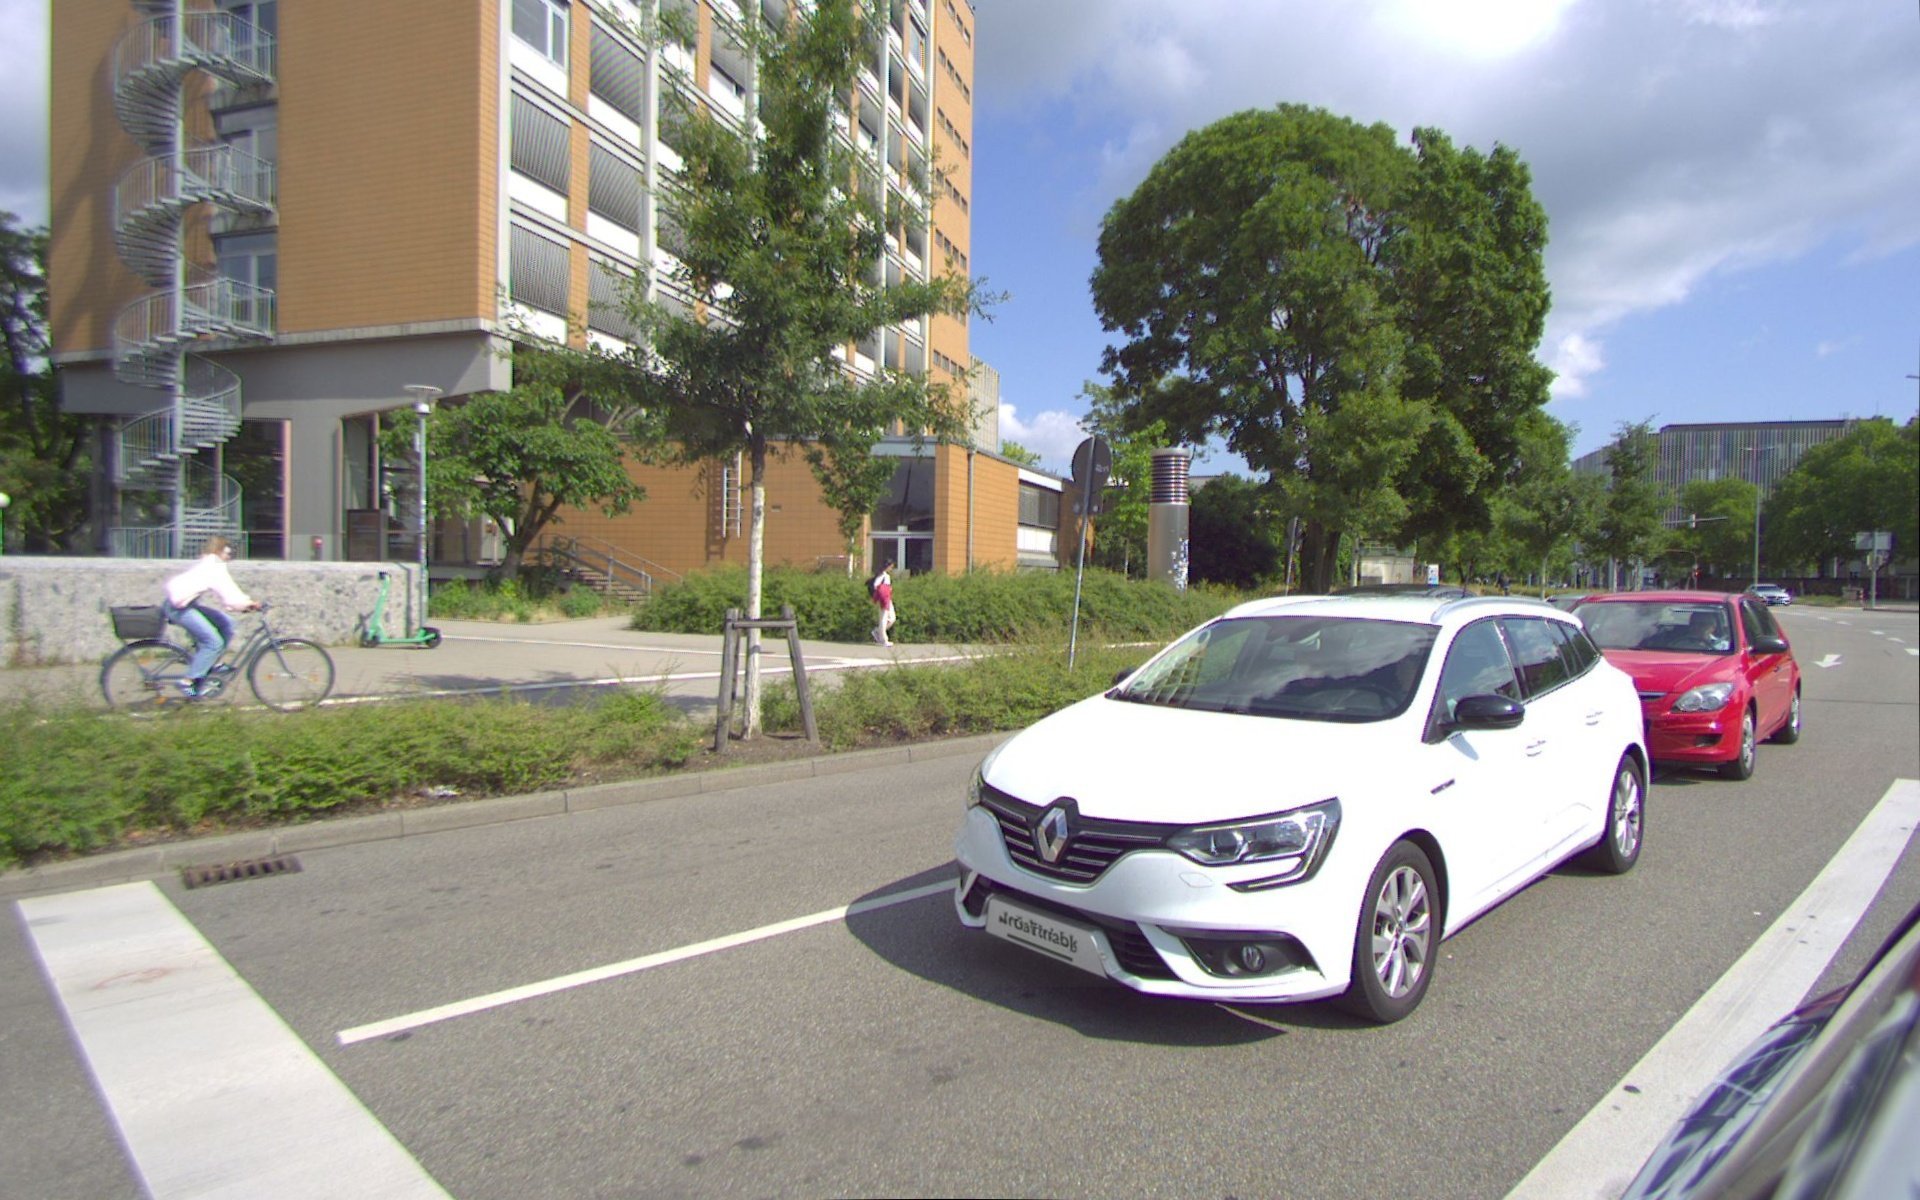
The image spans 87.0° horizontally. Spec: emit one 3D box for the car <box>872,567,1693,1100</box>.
[{"bbox_3d":[1.944,0.599,4.994,4.595,1.447,1.760,-2,1,-42],"label":"car"}]

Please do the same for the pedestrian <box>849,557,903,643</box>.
[{"bbox_3d":[-1.594,-0.012,19.424,0.940,1.598,0.769,1,1,2],"label":"pedestrian"}]

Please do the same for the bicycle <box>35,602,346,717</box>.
[{"bbox_3d":[-7.032,0.496,9.366,2.236,0.909,0.652,-1,2,-42],"label":"bicycle"}]

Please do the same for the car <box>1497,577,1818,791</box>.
[{"bbox_3d":[6.482,0.570,9.218,3.998,1.486,1.642,-2,1,-44],"label":"car"}]

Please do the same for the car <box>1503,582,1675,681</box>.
[{"bbox_3d":[10.498,0.434,16.773,1.583,1.402,4.014,-1,1,45],"label":"car"}]

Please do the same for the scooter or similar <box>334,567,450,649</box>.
[{"bbox_3d":[-8.866,0.119,15.819,1.506,1.198,0.435,2,1,-5],"label":"scooter or similar"}]

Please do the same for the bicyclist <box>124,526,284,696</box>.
[{"bbox_3d":[-6.997,0.080,9.384,1.149,1.475,0.635,-1,2,-41],"label":"bicyclist"}]

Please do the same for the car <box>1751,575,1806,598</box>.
[{"bbox_3d":[55.803,-0.949,69.067,1.810,1.544,3.971,1,2,22],"label":"car"}]

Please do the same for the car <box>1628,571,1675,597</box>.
[{"bbox_3d":[49.412,-1.133,72.396,1.978,1.777,3.969,-1,1,23],"label":"car"}]

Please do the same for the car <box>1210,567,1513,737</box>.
[{"bbox_3d":[4.735,0.447,11.624,4.143,1.596,1.642,-2,1,-44],"label":"car"}]

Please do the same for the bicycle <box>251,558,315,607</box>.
[{"bbox_3d":[-18.068,-0.484,27.045,0.423,1.263,1.466,1,1,18],"label":"bicycle"}]
